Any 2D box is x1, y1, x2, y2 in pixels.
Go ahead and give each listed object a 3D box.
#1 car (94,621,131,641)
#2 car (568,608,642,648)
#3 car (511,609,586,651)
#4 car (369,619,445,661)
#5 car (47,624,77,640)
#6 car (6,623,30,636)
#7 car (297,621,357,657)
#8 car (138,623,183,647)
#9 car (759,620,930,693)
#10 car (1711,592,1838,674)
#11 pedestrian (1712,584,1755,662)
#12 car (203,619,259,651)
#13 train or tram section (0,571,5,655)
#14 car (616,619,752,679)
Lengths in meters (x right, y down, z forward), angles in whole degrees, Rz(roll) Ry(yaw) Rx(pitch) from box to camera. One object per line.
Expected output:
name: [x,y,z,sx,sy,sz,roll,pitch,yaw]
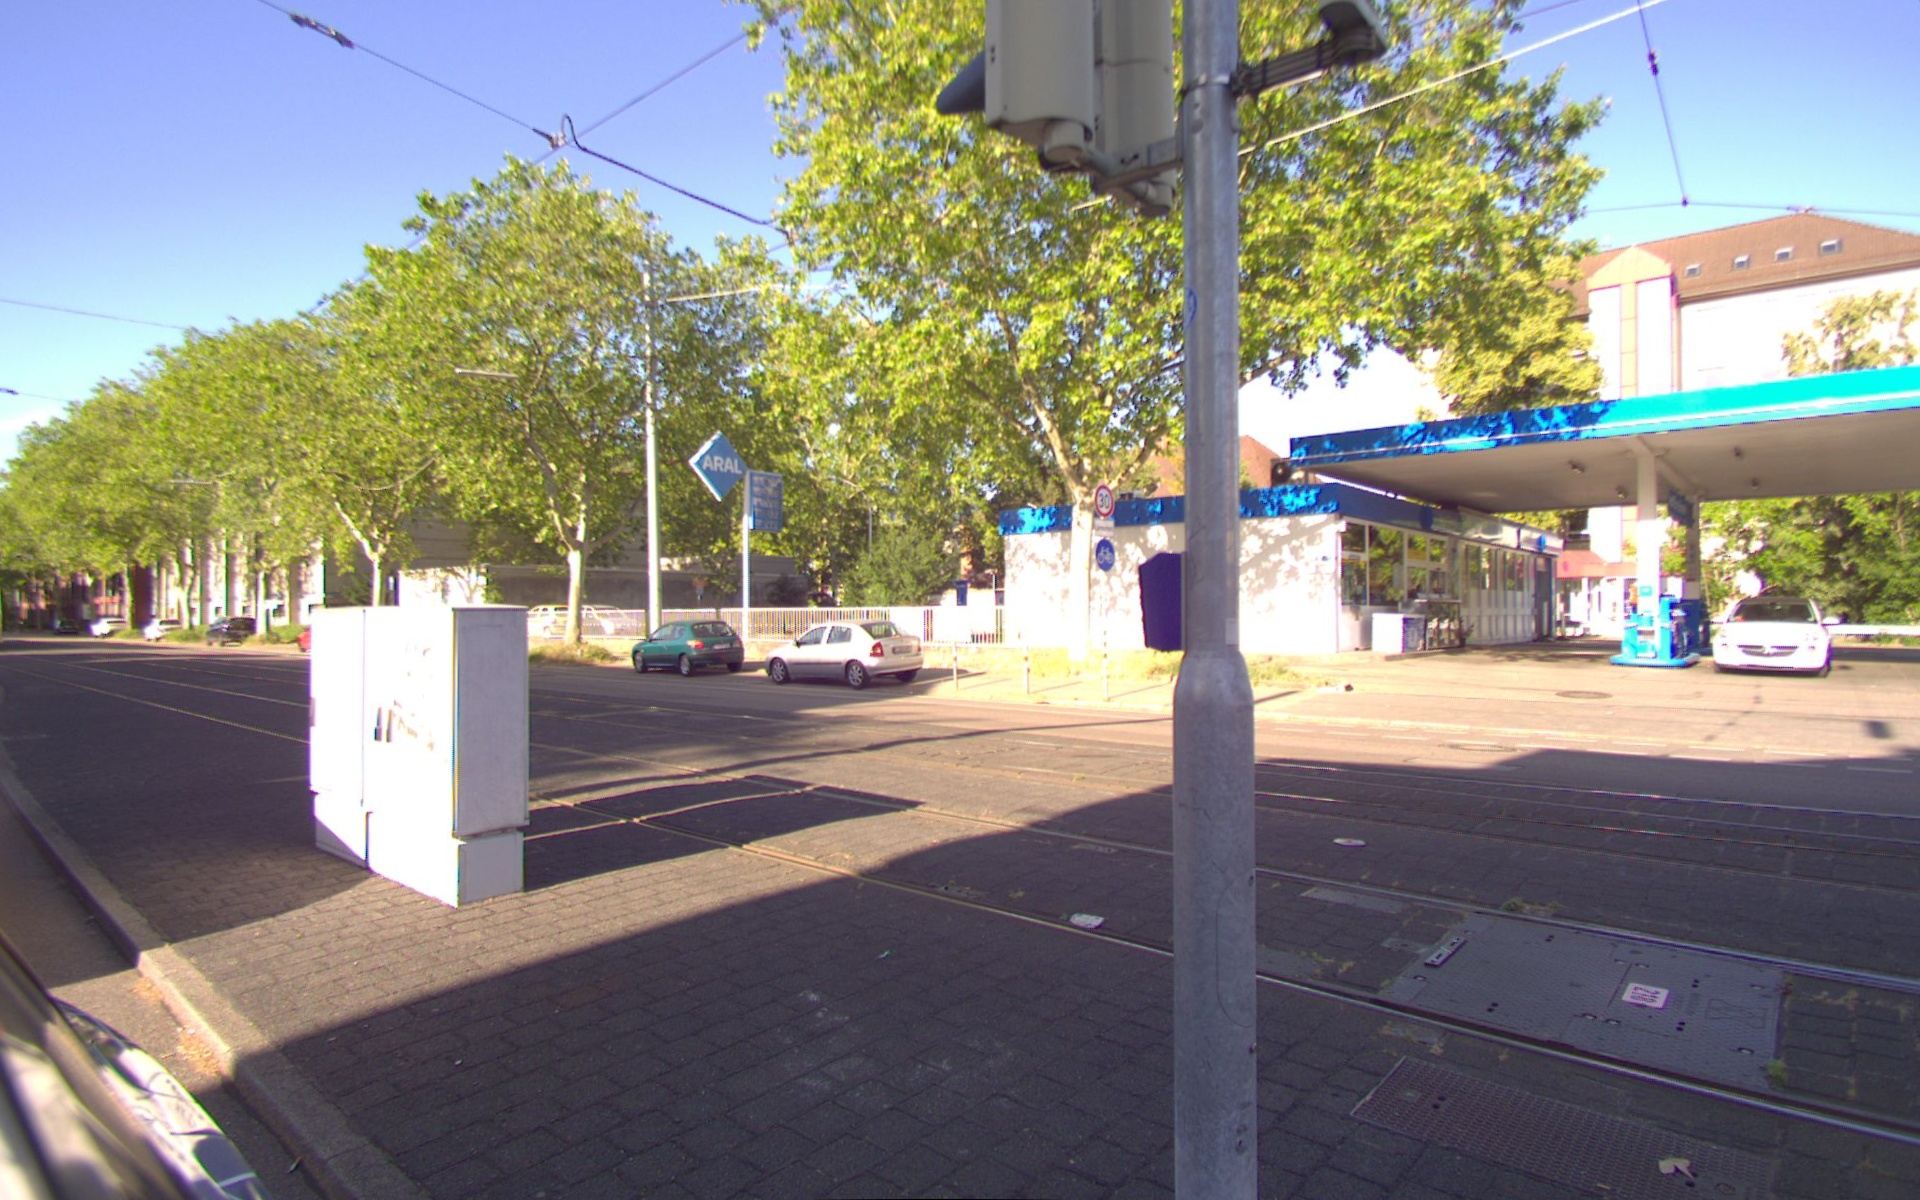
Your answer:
car: [-66.676,2.441,79.598,3.748,1.459,1.674,-1,1,41]
car: [-15.263,1.193,43.439,3.303,1.604,1.579,-1,0,41]
car: [-17.082,1.228,41.962,3.303,1.628,1.579,-1,0,41]
car: [-21.874,1.555,39.994,3.303,1.519,1.579,-1,1,41]
car: [-85.237,3.024,96.035,3.748,1.459,1.674,-1,1,41]
car: [-112.137,3.556,120.496,3.748,1.459,1.674,-1,1,41]
car: [-28.684,1.753,45.822,2.621,1.519,1.579,-1,1,41]
car: [-53.859,2.338,68.170,3.748,1.459,1.674,-1,1,41]
car: [-2.634,1.203,22.635,3.812,1.413,1.674,-1,1,41]
car: [15.888,0.609,19.688,1.757,1.453,3.521,-1,-1,41]
pedestrian: [17.229,0.518,22.556,0.646,1.714,0.495,-1,-1,28]
car: [-40.674,1.936,56.445,3.748,1.670,1.674,-1,1,41]
train or tram section: [-48.240,0.671,48.221,12.646,3.692,2.683,-1,-1,41]
car: [-7.398,1.264,26.963,3.748,1.413,1.674,-1,1,41]
